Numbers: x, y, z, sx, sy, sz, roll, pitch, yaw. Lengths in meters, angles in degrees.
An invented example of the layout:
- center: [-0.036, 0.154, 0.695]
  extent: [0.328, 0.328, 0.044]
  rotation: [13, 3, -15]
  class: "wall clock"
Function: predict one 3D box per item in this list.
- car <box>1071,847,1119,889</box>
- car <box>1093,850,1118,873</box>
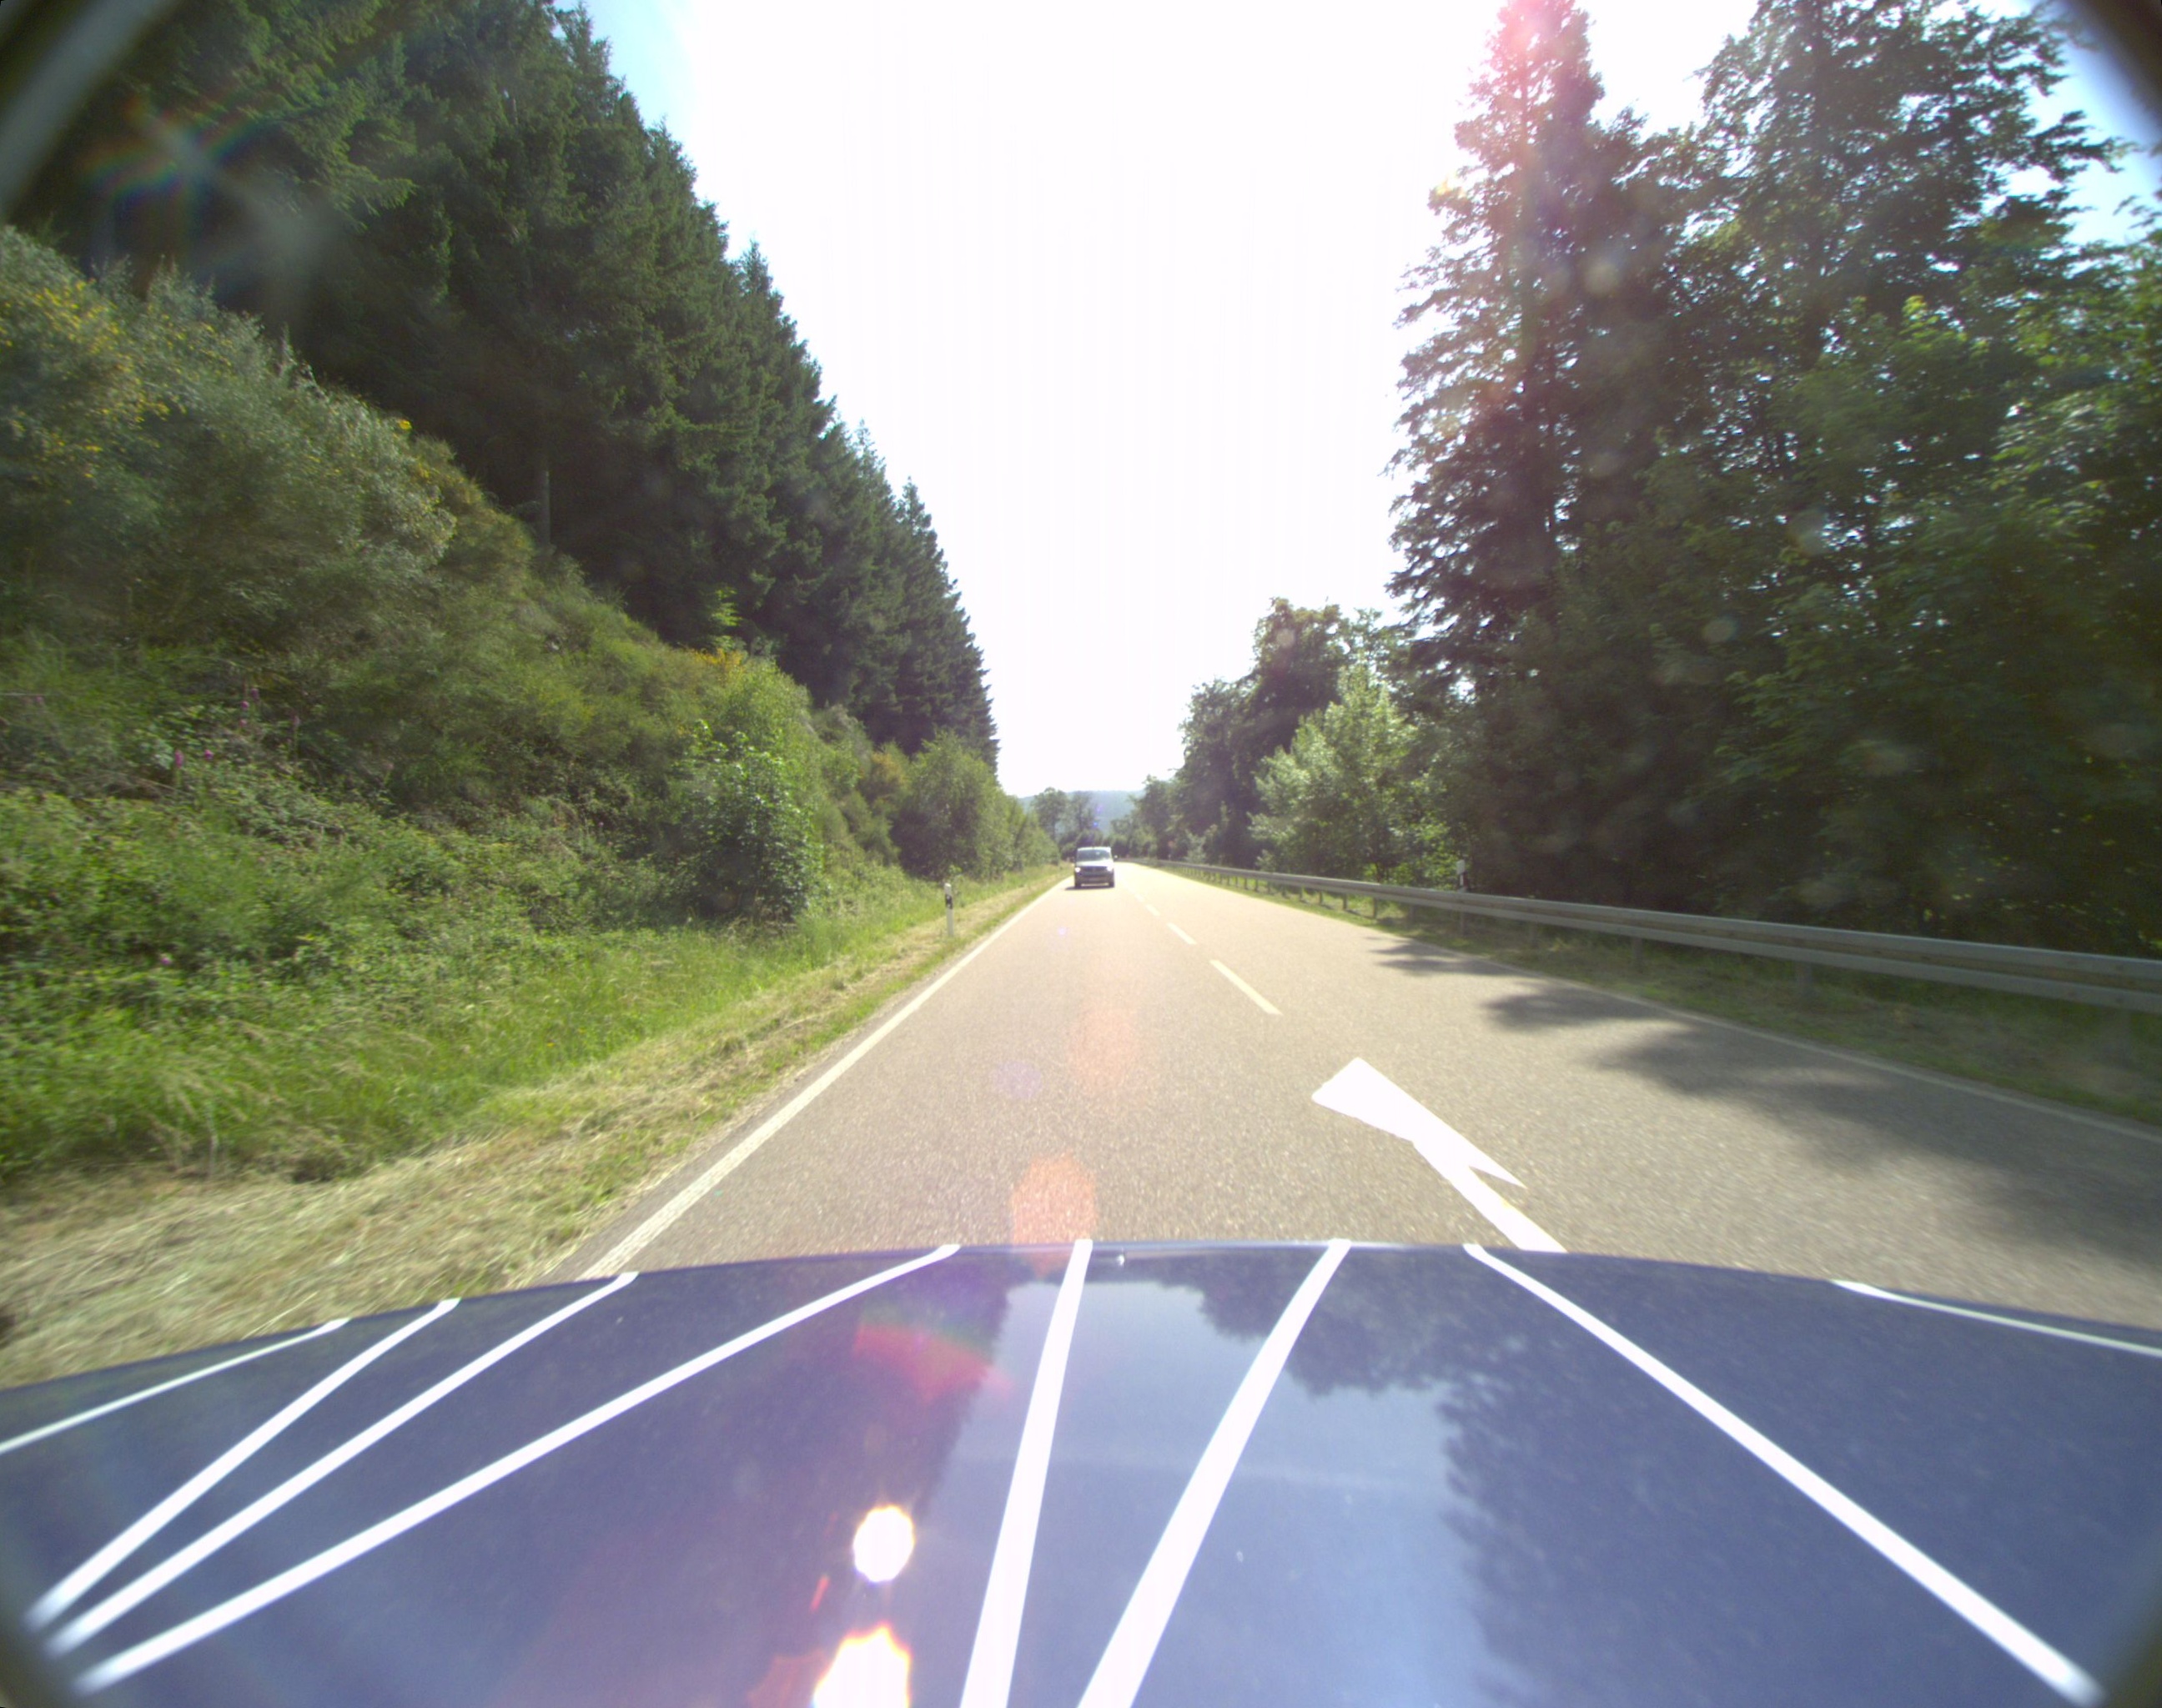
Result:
- center: [0.757, 0.635, 36.876]
  extent: [1.990, 1.899, 4.762]
  rotation: [-2, 0, 5]
  class: "car"
- center: [2.193, 0.621, 66.890]
  extent: [2.137, 1.824, 4.723]
  rotation: [-2, 0, 3]
  class: "car"
